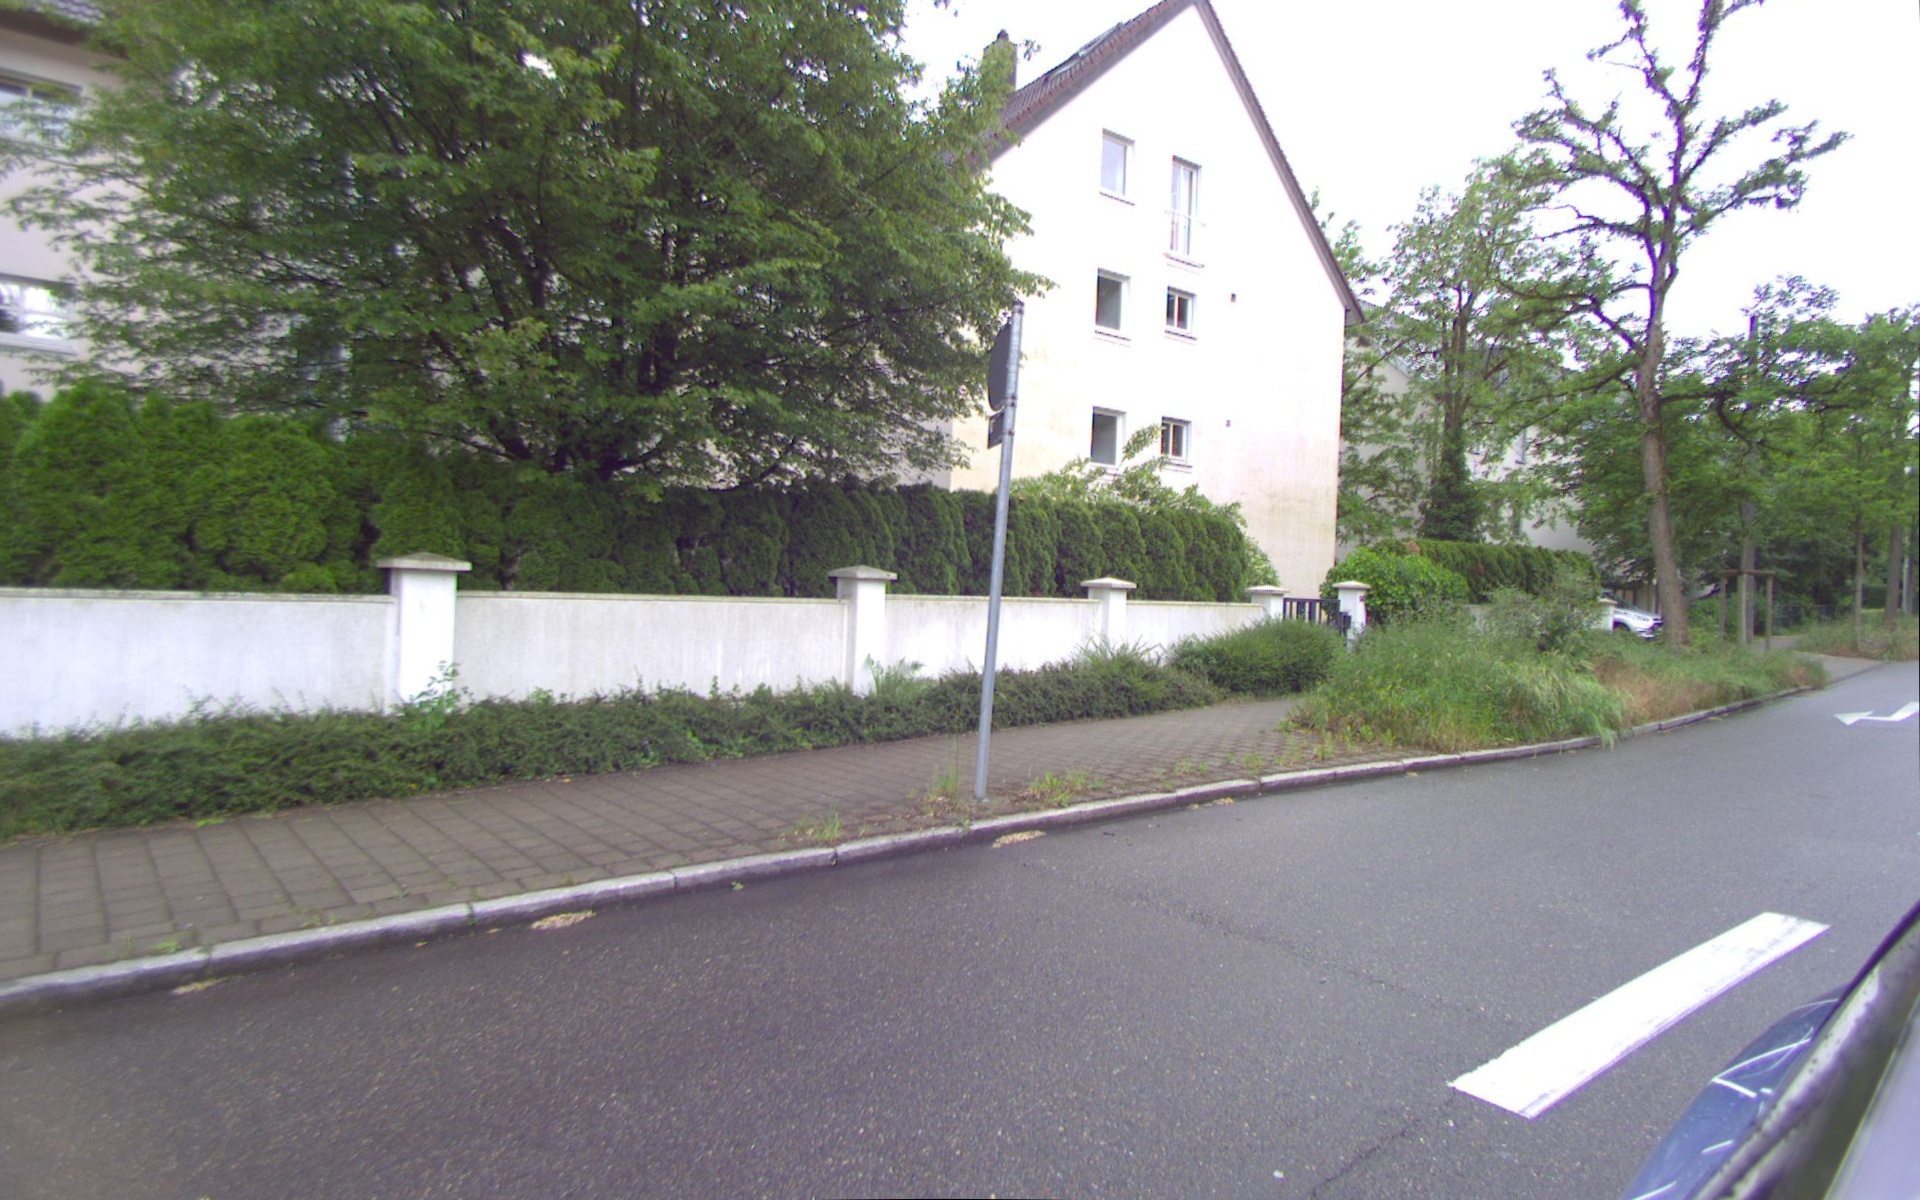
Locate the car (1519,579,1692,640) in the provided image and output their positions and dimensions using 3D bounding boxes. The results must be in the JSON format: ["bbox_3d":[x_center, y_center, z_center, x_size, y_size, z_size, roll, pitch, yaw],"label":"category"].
[{"bbox_3d":[20.684,0.253,32.603,1.837,1.840,4.322,1,1,-31],"label":"car"}]
